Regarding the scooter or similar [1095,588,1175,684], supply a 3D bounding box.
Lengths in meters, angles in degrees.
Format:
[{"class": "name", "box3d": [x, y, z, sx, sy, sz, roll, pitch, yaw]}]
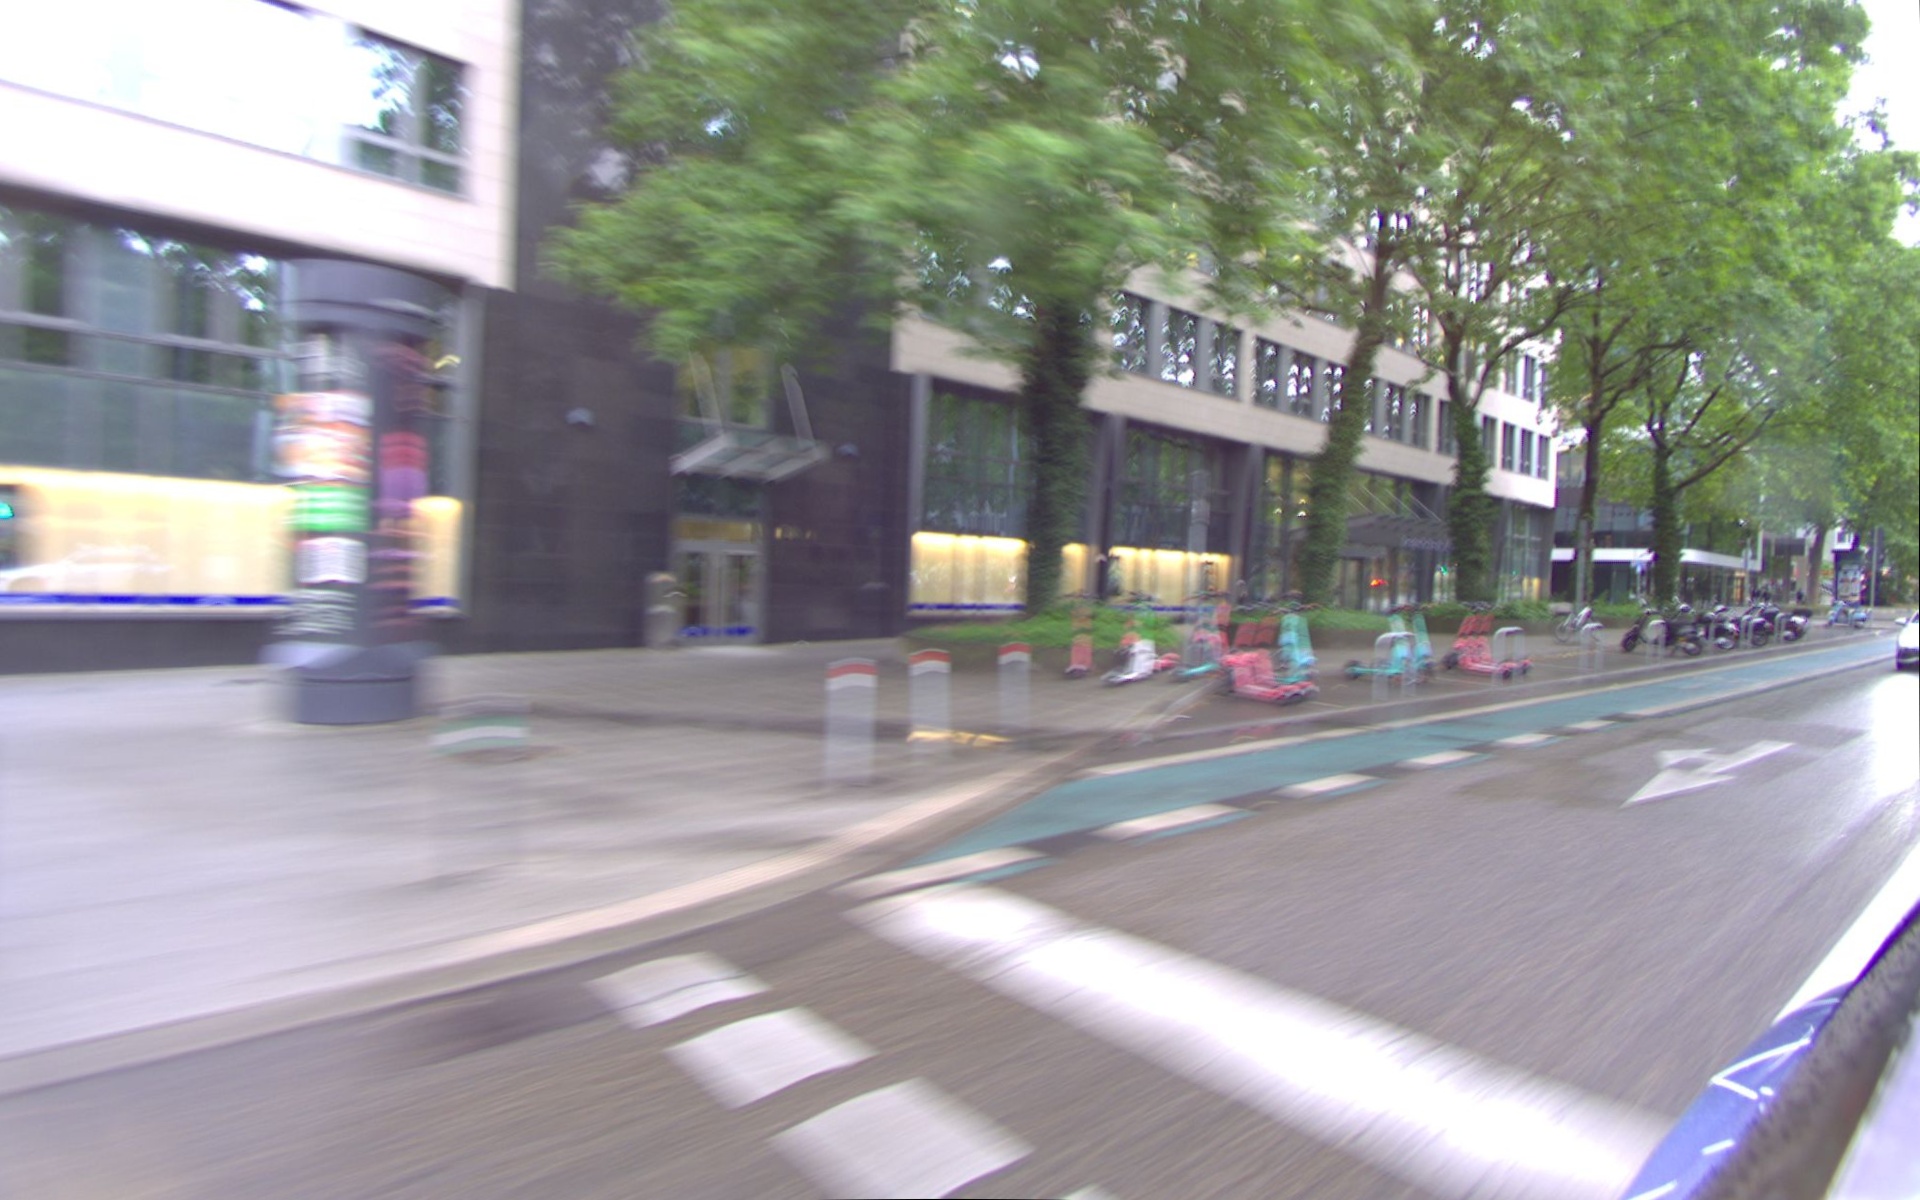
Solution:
[{"class": "scooter or similar", "box3d": [2.383, 0.459, 13.717, 0.487, 1.212, 1.275, 1, 2, 40]}]

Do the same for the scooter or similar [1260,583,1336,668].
[{"class": "scooter or similar", "box3d": [5.328, 0.394, 15.919, 1.270, 1.275, 0.488, 2, 1, -40]}]

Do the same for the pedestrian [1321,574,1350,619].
[{"class": "pedestrian", "box3d": [14.587, -0.159, 39.289, 0.813, 1.714, 0.729, 2, 1, 3]}]

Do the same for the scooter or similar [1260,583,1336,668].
[{"class": "scooter or similar", "box3d": [5.328, 0.394, 15.919, 1.270, 1.275, 0.488, 2, 1, -40]}]

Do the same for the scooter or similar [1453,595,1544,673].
[{"class": "scooter or similar", "box3d": [9.579, 0.584, 18.032, 0.527, 1.294, 1.294, 2, 1, -36]}]

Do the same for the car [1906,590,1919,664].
[{"class": "car", "box3d": [21.238, 0.547, 21.097, 3.726, 1.490, 1.795, 0, 1, -40]}]

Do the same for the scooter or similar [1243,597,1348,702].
[{"class": "scooter or similar", "box3d": [4.416, 0.630, 13.405, 0.479, 1.275, 1.296, 2, 1, -28]}]

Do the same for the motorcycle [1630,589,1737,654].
[{"class": "motorcycle", "box3d": [16.995, 0.490, 23.831, 1.949, 1.391, 0.720, 4, 1, 34]}]

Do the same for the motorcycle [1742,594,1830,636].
[{"class": "motorcycle", "box3d": [26.746, 0.471, 32.789, 2.031, 1.227, 0.682, 3, 3, 15]}]

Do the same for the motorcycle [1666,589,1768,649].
[{"class": "motorcycle", "box3d": [19.401, 0.463, 25.998, 1.945, 1.391, 0.721, 3, 1, 29]}]

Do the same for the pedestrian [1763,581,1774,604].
[{"class": "pedestrian", "box3d": [68.775, -0.627, 86.126, 0.692, 1.881, 0.523, -2, 4, -40]}]

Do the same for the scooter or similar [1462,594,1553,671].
[{"class": "scooter or similar", "box3d": [9.900, 0.576, 18.329, 0.527, 1.294, 1.294, 2, 1, -36]}]

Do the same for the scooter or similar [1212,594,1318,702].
[{"class": "scooter or similar", "box3d": [3.914, 0.590, 13.072, 0.479, 1.275, 1.296, 2, 1, -28]}]

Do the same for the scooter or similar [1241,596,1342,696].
[{"class": "scooter or similar", "box3d": [4.575, 0.617, 14.036, 0.479, 1.275, 1.296, 2, 1, -28]}]

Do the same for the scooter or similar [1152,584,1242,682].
[{"class": "scooter or similar", "box3d": [3.278, 0.448, 13.951, 1.270, 1.275, 0.488, 2, 1, -40]}]

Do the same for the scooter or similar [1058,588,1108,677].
[{"class": "scooter or similar", "box3d": [1.807, 0.442, 14.769, 0.483, 1.212, 1.286, 0, 1, 19]}]

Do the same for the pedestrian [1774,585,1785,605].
[{"class": "pedestrian", "box3d": [69.322, -0.468, 85.565, 0.707, 1.645, 0.527, -2, 4, -40]}]

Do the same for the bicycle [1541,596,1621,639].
[{"class": "bicycle", "box3d": [15.569, 0.437, 25.382, 1.726, 1.040, 0.640, 0, 1, -11]}]

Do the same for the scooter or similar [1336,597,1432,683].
[{"class": "scooter or similar", "box3d": [6.700, 0.616, 16.034, 0.480, 1.251, 1.293, 2, 1, -38]}]

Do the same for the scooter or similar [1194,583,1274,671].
[{"class": "scooter or similar", "box3d": [4.188, 0.412, 15.433, 1.270, 1.275, 0.488, 2, 1, -40]}]

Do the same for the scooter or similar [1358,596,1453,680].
[{"class": "scooter or similar", "box3d": [7.254, 0.603, 16.512, 0.480, 1.251, 1.293, 2, 1, -38]}]

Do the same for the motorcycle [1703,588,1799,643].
[{"class": "motorcycle", "box3d": [21.968, 0.418, 28.165, 1.945, 1.391, 0.721, 3, 1, 29]}]

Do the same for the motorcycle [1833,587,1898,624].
[{"class": "motorcycle", "box3d": [36.942, 0.230, 41.296, 1.909, 1.383, 0.685, 2, 4, 1]}]

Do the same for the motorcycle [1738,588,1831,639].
[{"class": "motorcycle", "box3d": [25.216, 0.400, 31.008, 2.042, 1.446, 0.721, 3, 1, 29]}]

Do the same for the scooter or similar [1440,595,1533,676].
[{"class": "scooter or similar", "box3d": [9.116, 0.597, 17.537, 1.288, 1.294, 0.529, 4, 1, 40]}]
